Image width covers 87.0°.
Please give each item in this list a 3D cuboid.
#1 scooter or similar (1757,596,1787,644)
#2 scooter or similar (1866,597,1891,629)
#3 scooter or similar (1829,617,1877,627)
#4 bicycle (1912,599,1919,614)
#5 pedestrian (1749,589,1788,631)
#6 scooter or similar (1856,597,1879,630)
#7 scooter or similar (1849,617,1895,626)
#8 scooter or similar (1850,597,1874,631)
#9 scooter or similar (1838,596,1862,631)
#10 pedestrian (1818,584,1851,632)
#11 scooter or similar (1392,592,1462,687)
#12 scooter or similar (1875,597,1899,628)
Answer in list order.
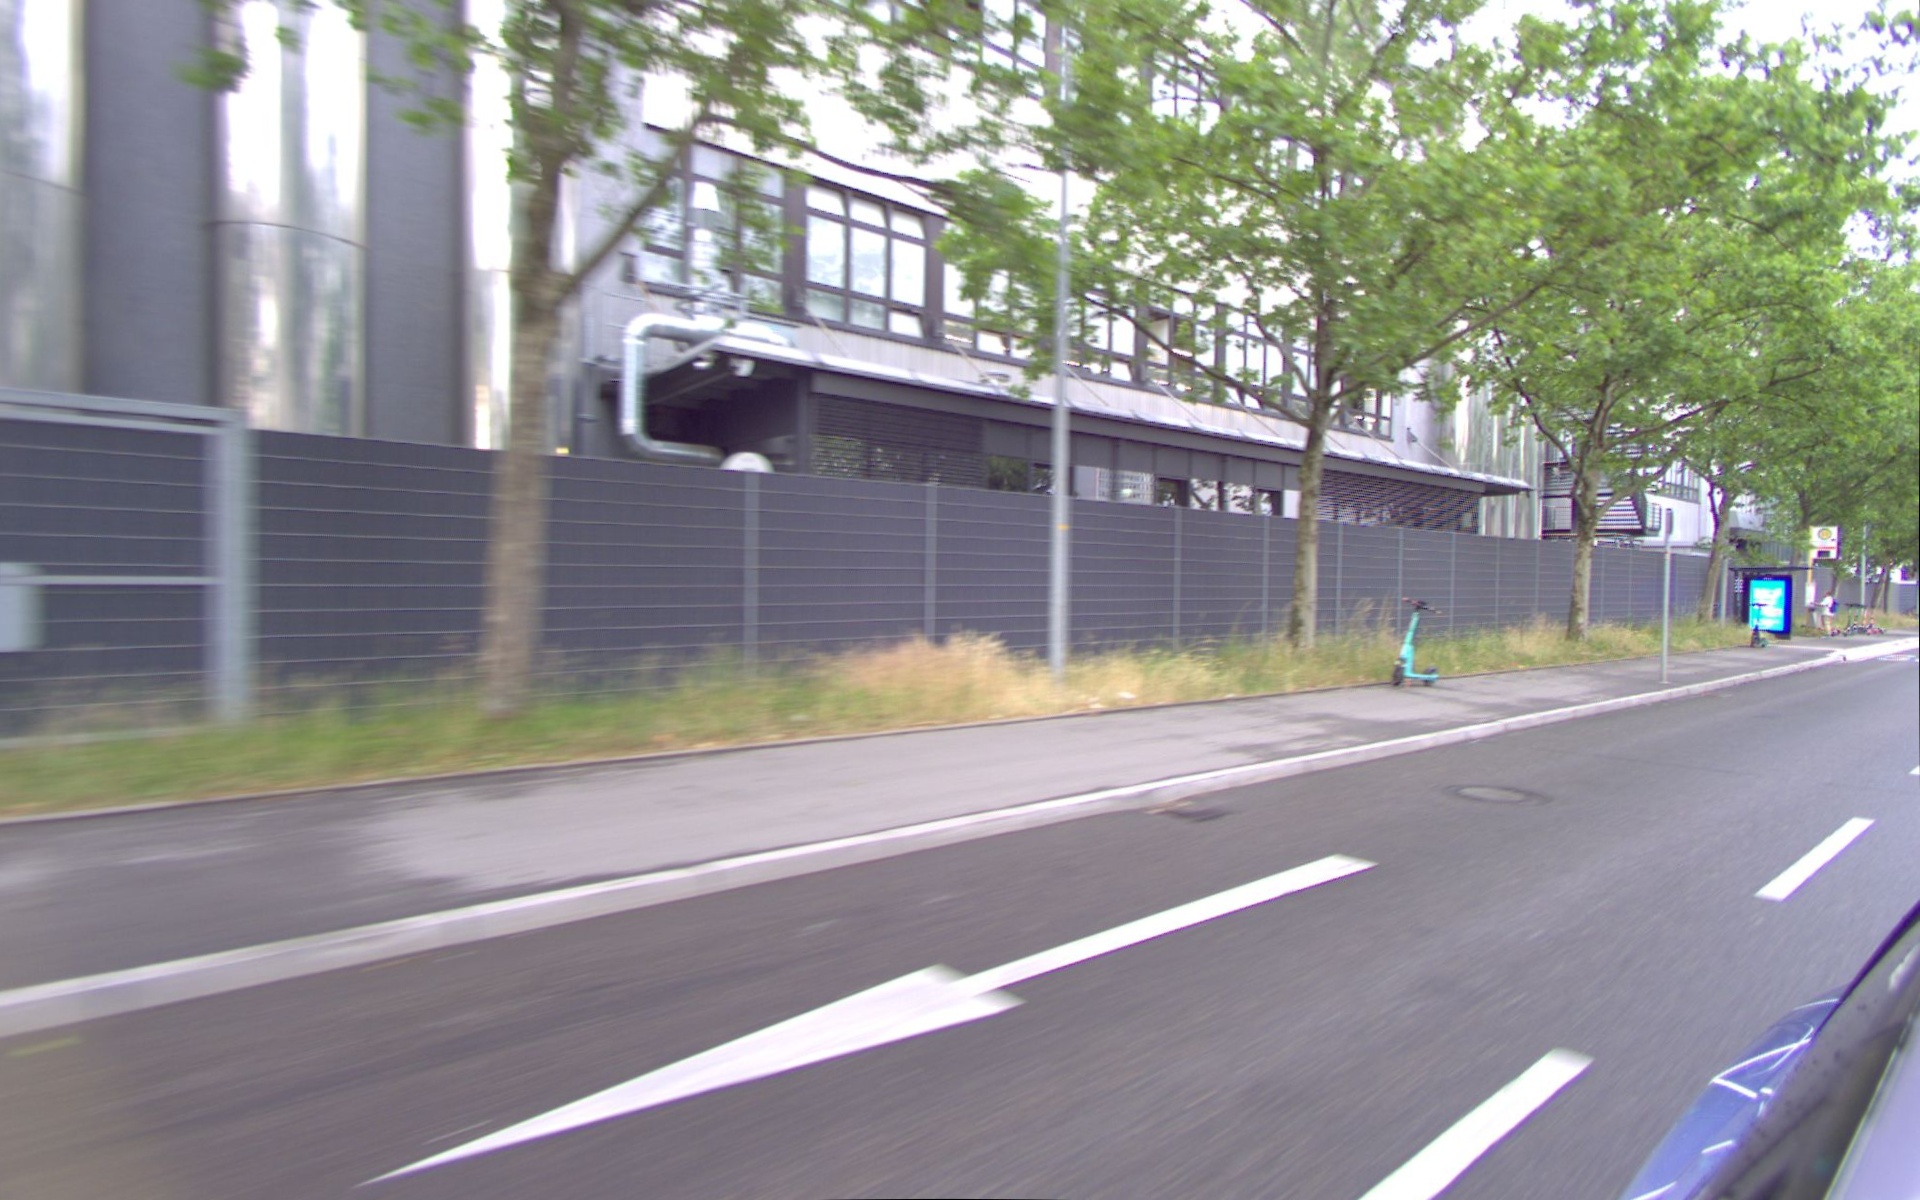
[{"bbox_3d":[23.002,0.565,28.664,1.222,1.325,0.329,0,1,-37],"label":"scooter or similar"},{"bbox_3d":[38.013,0.533,41.894,1.340,1.311,0.437,0,1,-34],"label":"scooter or similar"},{"bbox_3d":[38.910,0.959,44.103,1.231,0.349,1.104,1,2,-17],"label":"scooter or similar"},{"bbox_3d":[60.957,0.413,64.124,1.872,0.886,0.726,-1,1,-42],"label":"bicycle"},{"bbox_3d":[28.400,0.346,35.561,0.686,1.433,0.932,0,1,-41],"label":"pedestrian"},{"bbox_3d":[36.532,0.532,40.736,1.277,1.311,0.437,0,1,-38],"label":"scooter or similar"},{"bbox_3d":[41.234,0.963,45.782,1.168,0.314,1.194,2,2,21],"label":"scooter or similar"},{"bbox_3d":[34.984,0.534,39.246,1.277,1.311,0.437,0,1,-38],"label":"scooter or similar"},{"bbox_3d":[33.827,0.503,38.457,1.277,1.311,0.437,0,1,-38],"label":"scooter or similar"},{"bbox_3d":[31.907,0.283,36.925,0.717,1.731,0.777,0,1,-41],"label":"pedestrian"},{"bbox_3d":[6.593,0.539,14.277,1.087,1.285,0.330,0,1,-32],"label":"scooter or similar"},{"bbox_3d":[40.477,0.544,44.175,1.275,1.301,0.437,0,1,-34],"label":"scooter or similar"}]
